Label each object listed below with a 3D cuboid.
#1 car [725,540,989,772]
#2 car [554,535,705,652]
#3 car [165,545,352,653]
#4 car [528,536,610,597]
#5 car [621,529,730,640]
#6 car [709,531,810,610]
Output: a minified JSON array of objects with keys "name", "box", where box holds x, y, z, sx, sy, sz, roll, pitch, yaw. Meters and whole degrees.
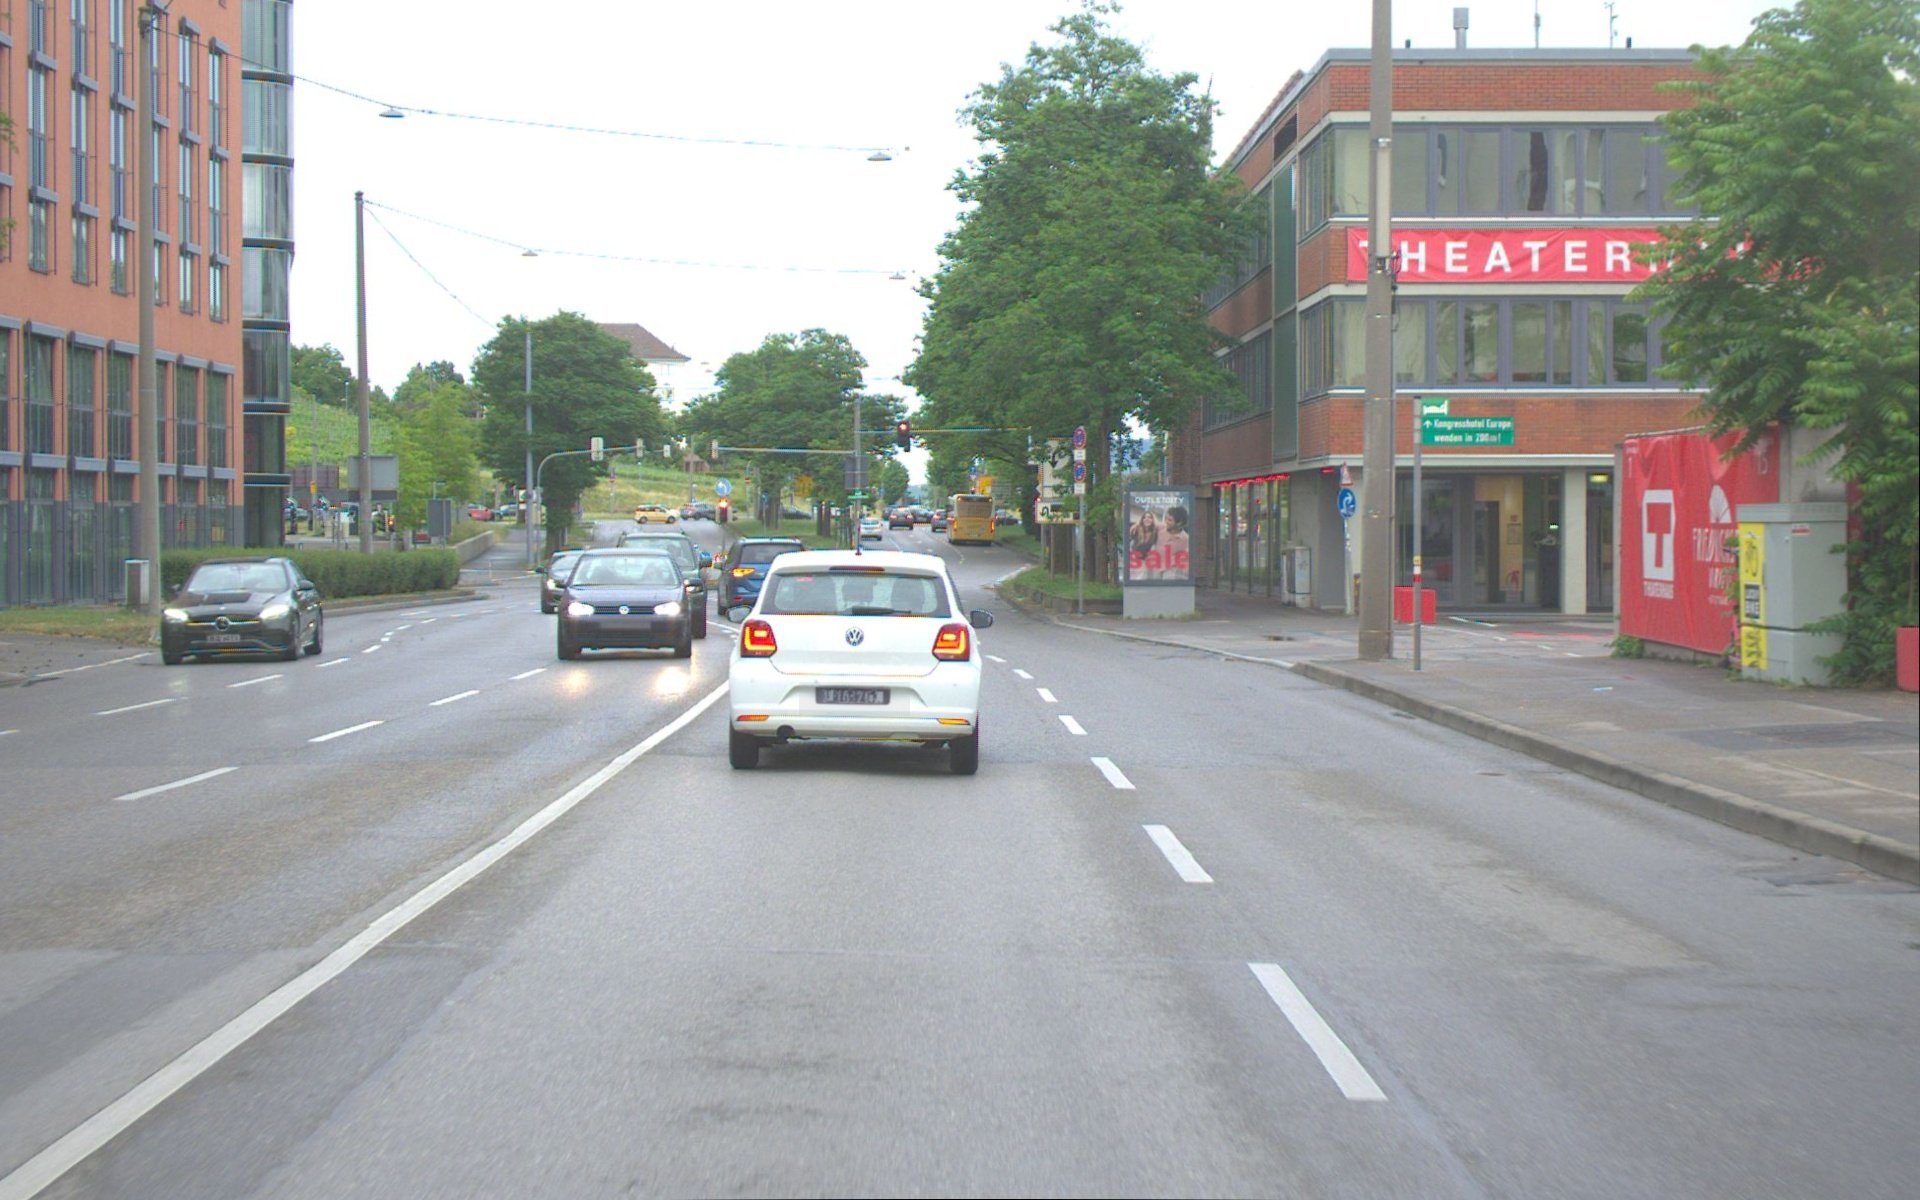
[{"name":"car","box":[-0.691,0.325,23.741,1.671,1.469,3.780,0,1,-1]},{"name":"car","box":[-4.326,-0.120,45.459,1.659,1.481,3.820,0,1,-1]},{"name":"car","box":[-9.775,-0.046,48.208,1.621,1.319,4.446,-2,2,1]},{"name":"car","box":[-9.148,-0.783,80.632,1.712,1.360,4.001,-1,1,-4]},{"name":"car","box":[-4.580,-0.277,55.690,1.503,1.661,3.420,0,2,-1]},{"name":"car","box":[-4.100,-0.625,70.738,1.993,1.568,4.001,0,1,-2]}]
